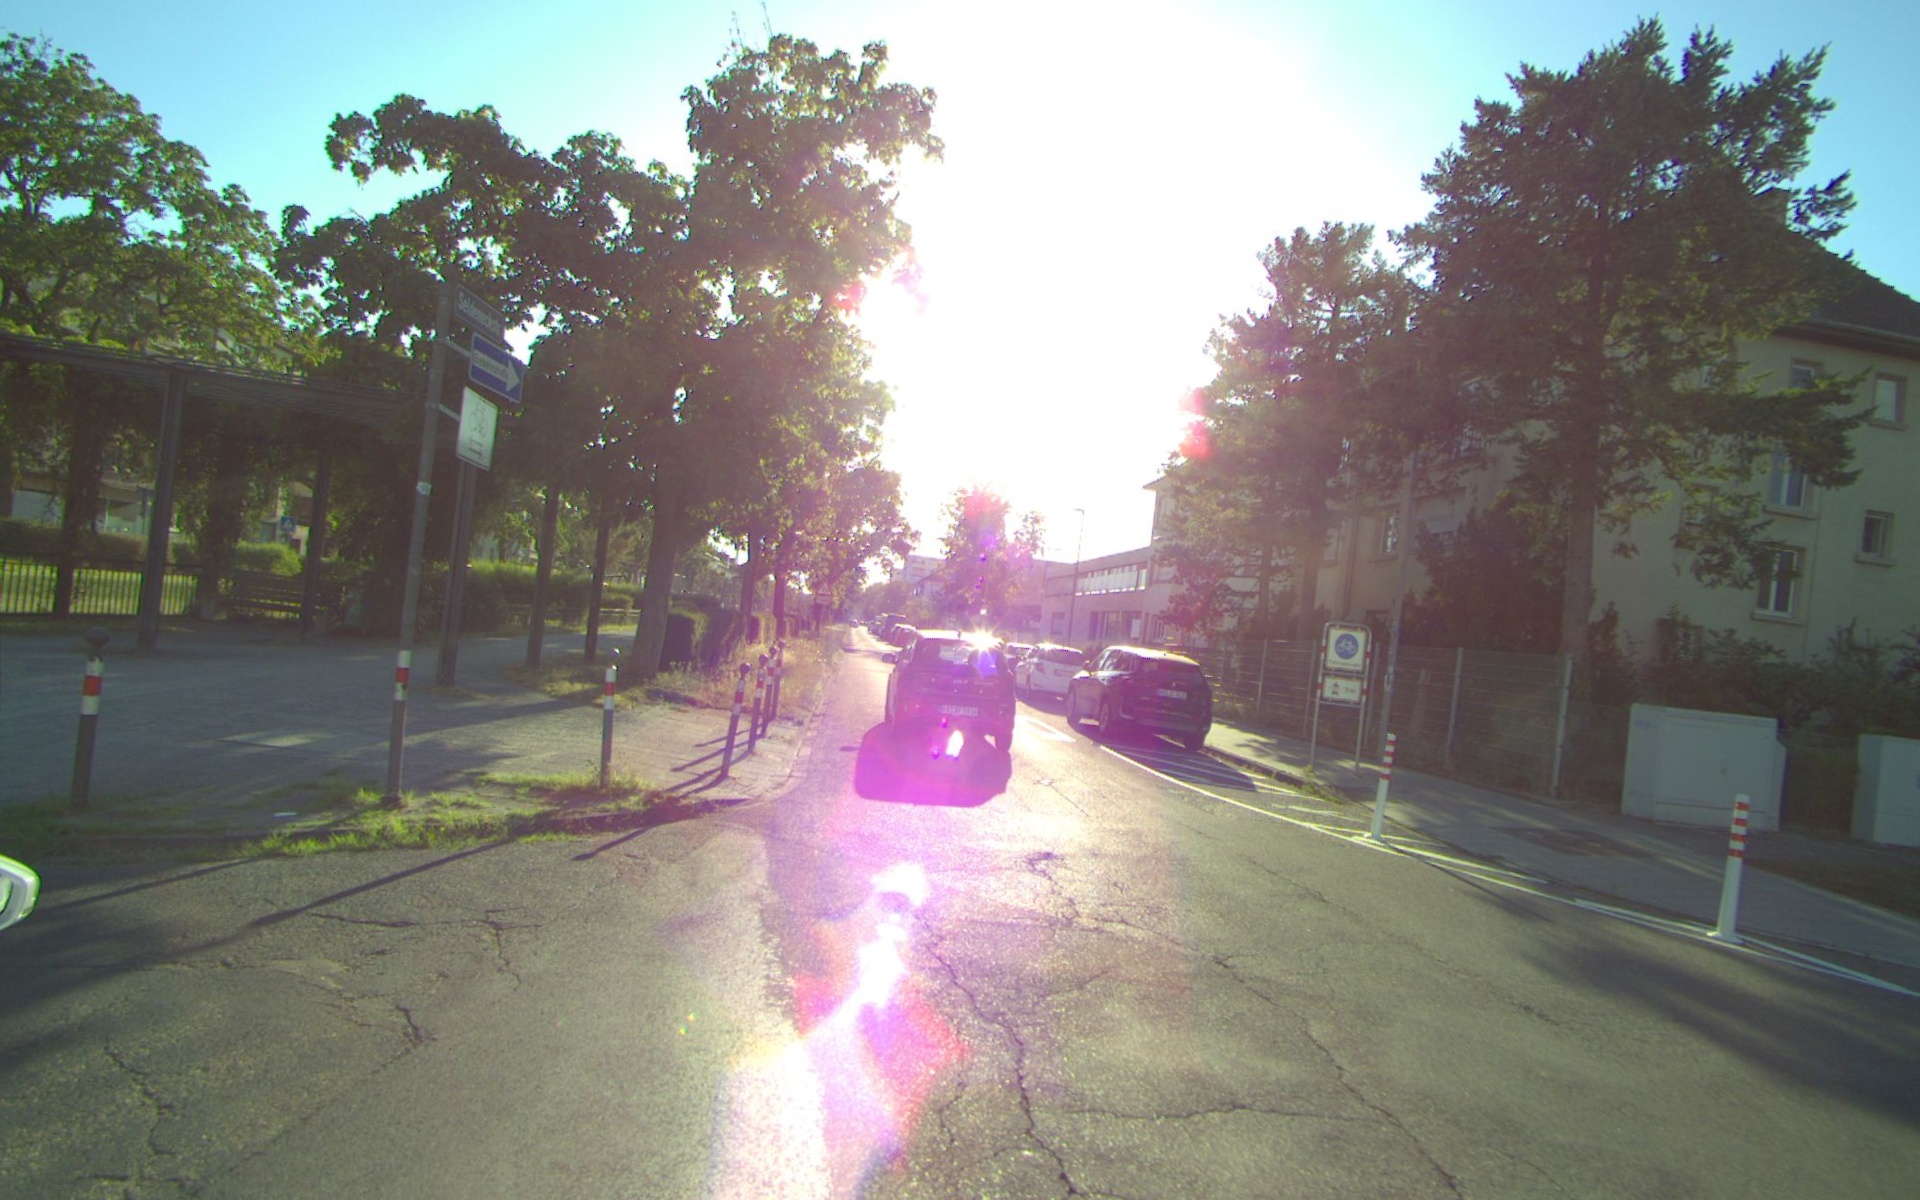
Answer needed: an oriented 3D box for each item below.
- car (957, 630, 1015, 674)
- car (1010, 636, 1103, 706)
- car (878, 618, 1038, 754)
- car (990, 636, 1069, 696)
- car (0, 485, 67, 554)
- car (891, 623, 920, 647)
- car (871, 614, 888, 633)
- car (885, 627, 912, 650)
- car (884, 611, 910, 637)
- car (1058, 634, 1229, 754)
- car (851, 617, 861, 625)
[{"bbox_3d":[1.022,2.121,41.567,1.740,1.544,3.770,6,-2,-7],"label":"car"},{"bbox_3d":[2.557,1.882,27.509,1.739,1.544,3.771,6,-2,-5],"label":"car"},{"bbox_3d":[-0.170,1.120,14.492,1.739,1.544,3.770,6,-2,-7],"label":"car"},{"bbox_3d":[2.146,2.070,32.255,1.705,1.536,3.757,7,-1,-7],"label":"car"},{"bbox_3d":[-44.236,-3.907,44.485,6.631,2.777,2.296,8,-1,-36],"label":"car"},{"bbox_3d":[-4.165,2.612,76.264,1.732,1.536,3.756,7,-1,-9],"label":"car"},{"bbox_3d":[-10.502,3.052,130.877,1.965,2.149,3.998,7,-1,-6],"label":"car"},{"bbox_3d":[-4.930,3.097,80.665,1.706,1.536,3.756,7,-1,-9],"label":"car"},{"bbox_3d":[-5.856,2.255,93.375,1.965,2.149,3.998,7,-1,-6],"label":"car"},{"bbox_3d":[3.234,1.622,18.684,1.792,1.659,4.214,9,-2,-6],"label":"car"},{"bbox_3d":[-22.946,4.603,222.367,1.839,1.637,3.997,7,-1,-7],"label":"car"}]
